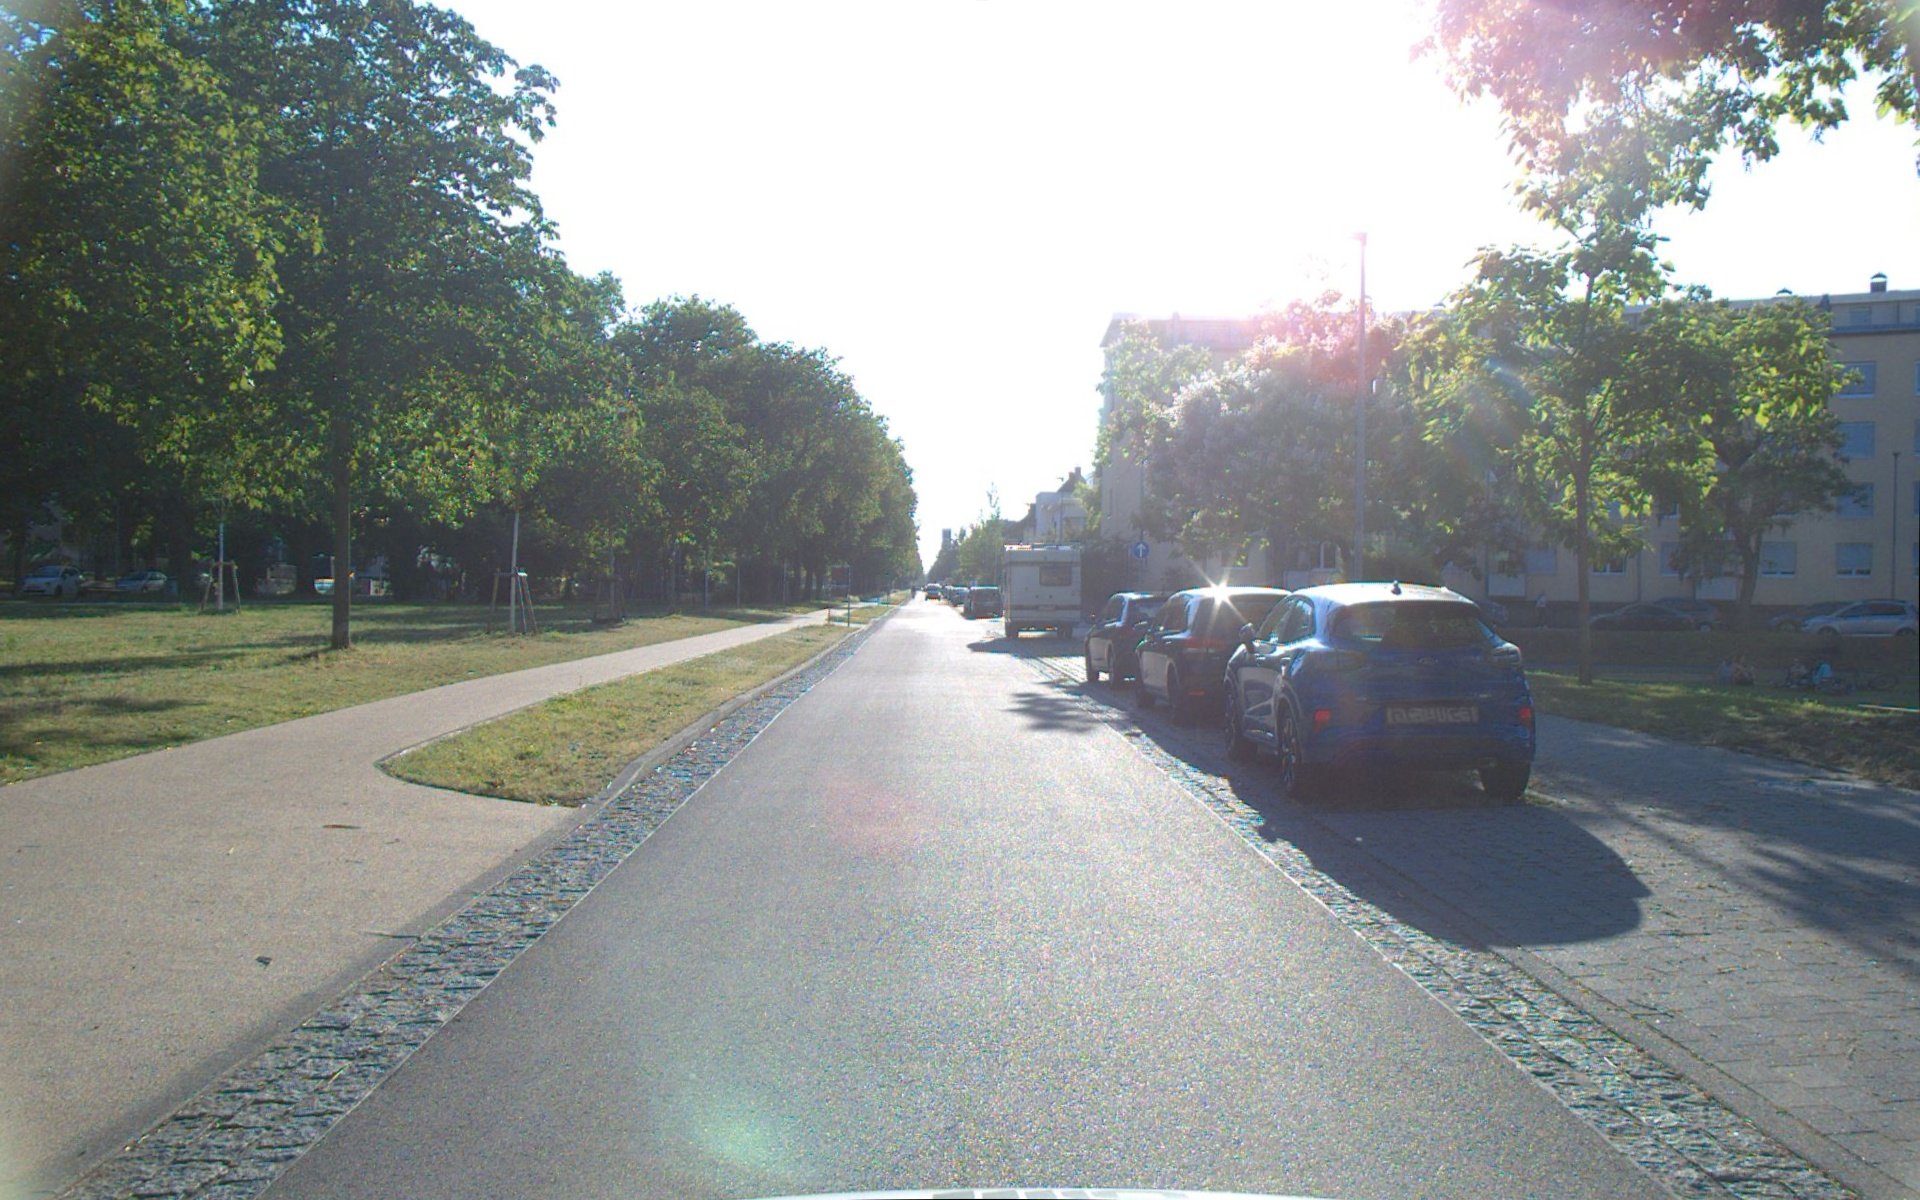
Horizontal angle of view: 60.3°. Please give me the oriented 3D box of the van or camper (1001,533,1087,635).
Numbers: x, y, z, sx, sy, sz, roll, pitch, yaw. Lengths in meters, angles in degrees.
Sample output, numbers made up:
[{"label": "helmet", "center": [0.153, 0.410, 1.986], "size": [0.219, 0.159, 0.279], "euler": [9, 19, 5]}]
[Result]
[{"label": "van or camper", "center": [2.525, -0.436, 51.074], "size": [2.189, 2.955, 5.671], "euler": [0, -1, -2]}]

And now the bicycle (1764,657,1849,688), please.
[{"label": "bicycle", "center": [20.919, 1.790, 40.941], "size": [1.730, 0.625, 1.811], "euler": [1, 0, 23]}]

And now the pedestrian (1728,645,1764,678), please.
[{"label": "pedestrian", "center": [20.926, 1.644, 44.040], "size": [0.598, 0.827, 0.724], "euler": [2, 0, 0]}]

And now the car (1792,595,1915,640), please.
[{"label": "car", "center": [32.922, 0.630, 61.049], "size": [3.909, 1.579, 1.609], "euler": [1, 0, 27]}]

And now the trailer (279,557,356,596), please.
[{"label": "trailer", "center": [-43.198, -1.565, 111.421], "size": [2.409, 2.532, 7.049], "euler": [0, 0, 0]}]

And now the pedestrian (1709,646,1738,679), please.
[{"label": "pedestrian", "center": [19.905, 1.625, 43.121], "size": [0.463, 0.827, 0.612], "euler": [2, 0, 0]}]

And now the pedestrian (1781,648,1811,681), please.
[{"label": "pedestrian", "center": [21.805, 1.685, 43.138], "size": [0.463, 0.827, 0.612], "euler": [2, 0, 0]}]

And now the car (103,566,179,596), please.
[{"label": "car", "center": [-42.868, -0.985, 86.642], "size": [1.953, 1.534, 4.115], "euler": [0, 0, 0]}]

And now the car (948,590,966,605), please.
[{"label": "car", "center": [-0.327, -0.248, 157.449], "size": [1.593, 1.434, 4.248], "euler": [0, 0, -2]}]

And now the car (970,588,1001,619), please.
[{"label": "car", "center": [1.407, 0.181, 92.344], "size": [1.593, 1.698, 4.248], "euler": [0, 0, -2]}]

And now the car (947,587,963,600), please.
[{"label": "car", "center": [-0.513, -0.697, 176.628], "size": [1.593, 1.434, 4.248], "euler": [0, 0, -2]}]

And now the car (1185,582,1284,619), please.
[{"label": "car", "center": [12.100, 0.021, 73.168], "size": [4.107, 1.557, 2.001], "euler": [1, 0, 3]}]

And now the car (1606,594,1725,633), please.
[{"label": "car", "center": [29.587, 0.551, 69.465], "size": [4.416, 1.597, 1.881], "euler": [1, 0, 18]}]

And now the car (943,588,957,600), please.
[{"label": "car", "center": [-1.159, -0.697, 192.845], "size": [1.593, 1.434, 4.248], "euler": [0, 0, -2]}]

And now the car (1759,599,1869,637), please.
[{"label": "car", "center": [34.519, 0.710, 66.919], "size": [3.910, 1.478, 1.878], "euler": [1, 0, 27]}]

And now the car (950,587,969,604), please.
[{"label": "car", "center": [-0.043, -0.374, 145.788], "size": [1.593, 1.434, 4.248], "euler": [0, 0, -2]}]

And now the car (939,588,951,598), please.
[{"label": "car", "center": [-2.227, -1.089, 245.251], "size": [1.593, 1.434, 4.248], "euler": [0, 0, -2]}]

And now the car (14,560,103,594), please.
[{"label": "car", "center": [-42.486, -1.046, 78.087], "size": [1.953, 1.534, 4.115], "euler": [0, 0, 0]}]

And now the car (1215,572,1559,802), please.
[{"label": "car", "center": [3.271, 0.596, 13.536], "size": [1.696, 1.578, 4.275], "euler": [0, 0, 0]}]

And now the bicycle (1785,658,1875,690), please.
[{"label": "bicycle", "center": [20.675, 1.751, 39.363], "size": [1.730, 0.625, 1.811], "euler": [1, 0, 23]}]

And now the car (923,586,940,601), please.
[{"label": "car", "center": [-3.227, -0.710, 186.499], "size": [1.789, 1.698, 4.248], "euler": [0, 0, -2]}]

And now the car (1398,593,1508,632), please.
[{"label": "car", "center": [19.596, 0.486, 65.885], "size": [4.106, 1.488, 1.694], "euler": [1, 0, 14]}]

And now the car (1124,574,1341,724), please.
[{"label": "car", "center": [3.114, 0.517, 19.785], "size": [1.697, 1.578, 4.420], "euler": [0, 0, -2]}]

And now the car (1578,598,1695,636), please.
[{"label": "car", "center": [26.196, 0.650, 64.134], "size": [4.108, 1.381, 1.693], "euler": [1, 0, 20]}]

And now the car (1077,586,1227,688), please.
[{"label": "car", "center": [2.966, 0.544, 26.366], "size": [1.594, 1.489, 4.245], "euler": [0, 0, -4]}]

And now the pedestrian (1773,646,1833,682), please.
[{"label": "pedestrian", "center": [21.546, 1.629, 42.287], "size": [1.238, 0.827, 0.570], "euler": [2, 1, 45]}]
